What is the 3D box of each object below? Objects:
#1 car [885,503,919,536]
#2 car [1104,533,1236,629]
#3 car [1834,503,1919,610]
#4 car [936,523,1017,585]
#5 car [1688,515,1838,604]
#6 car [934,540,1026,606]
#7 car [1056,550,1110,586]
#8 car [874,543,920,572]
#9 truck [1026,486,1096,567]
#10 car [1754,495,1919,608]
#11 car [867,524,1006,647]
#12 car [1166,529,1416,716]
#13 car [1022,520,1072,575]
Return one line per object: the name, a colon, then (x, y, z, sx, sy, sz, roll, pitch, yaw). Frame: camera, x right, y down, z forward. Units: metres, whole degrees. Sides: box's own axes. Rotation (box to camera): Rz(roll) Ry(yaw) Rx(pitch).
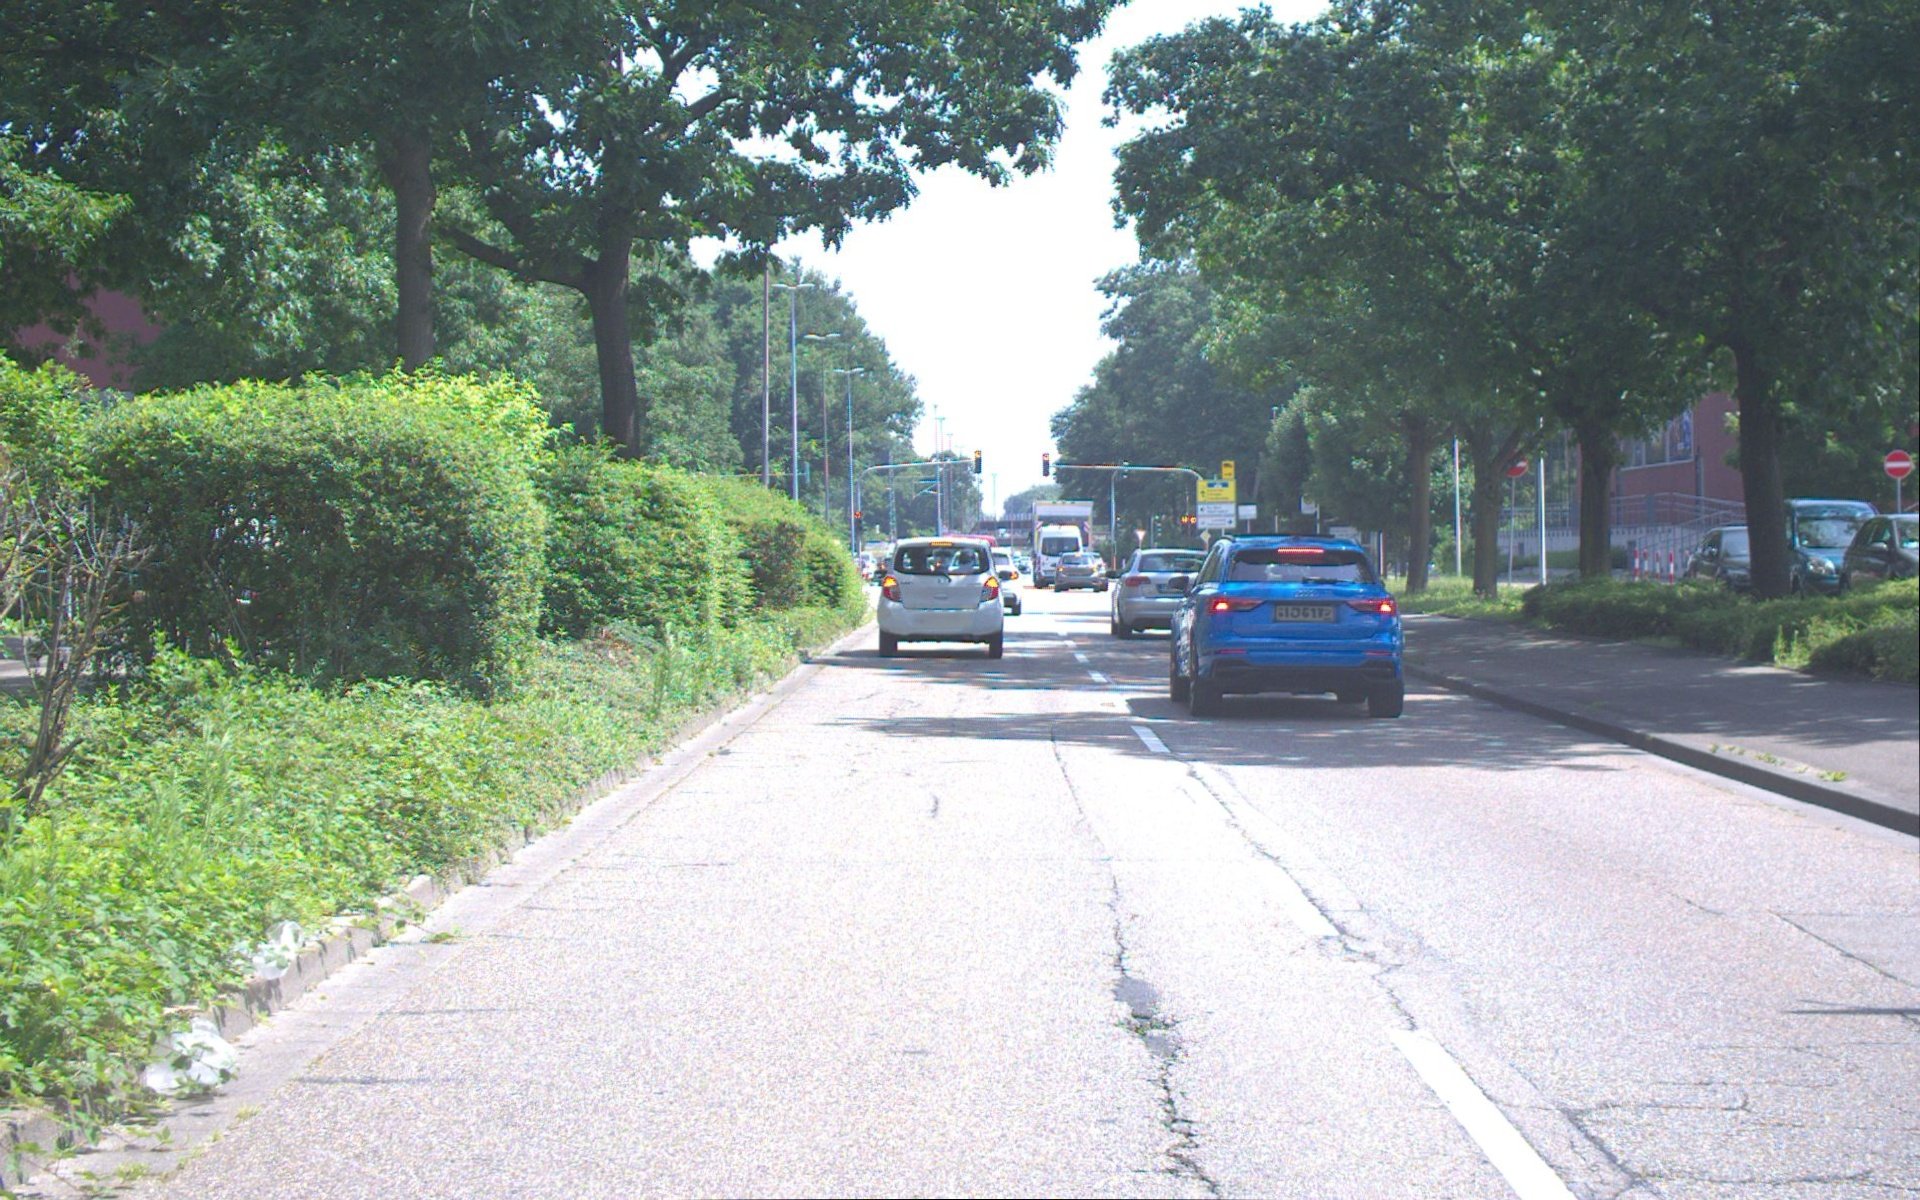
car: (-3.619, -5.015, 215.739, 1.993, 2.007, 4.001, -1, 1, -2)
car: (3.297, -0.300, 54.682, 1.865, 1.468, 4.000, 0, 0, 0)
car: (13.091, -0.605, 46.189, 1.700, 1.375, 3.906, 0, 1, 0)
car: (0.398, -1.143, 86.658, 1.794, 1.518, 4.000, 0, 0, -3)
car: (13.364, -0.669, 57.446, 1.701, 1.420, 4.653, 0, 0, 4)
car: (0.443, -0.558, 72.668, 1.885, 1.349, 4.000, 0, 0, 1)
car: (4.642, -1.217, 130.072, 1.865, 1.305, 4.000, -1, 1, 0)
car: (-2.945, -1.993, 160.851, 1.993, 1.284, 4.000, -1, 1, 1)
truck: (4.543, -3.318, 156.003, 2.932, 3.490, 9.158, -1, 1, 1)
car: (13.176, -0.709, 51.707, 1.700, 1.632, 3.905, 0, 0, 2)
car: (-0.338, -0.192, 44.954, 1.638, 1.547, 3.325, 0, 0, -3)
car: (2.938, 0.180, 31.302, 1.808, 1.587, 4.349, 0, 0, -1)
car: (3.662, -2.207, 144.836, 1.993, 2.248, 4.000, -1, 1, 1)
